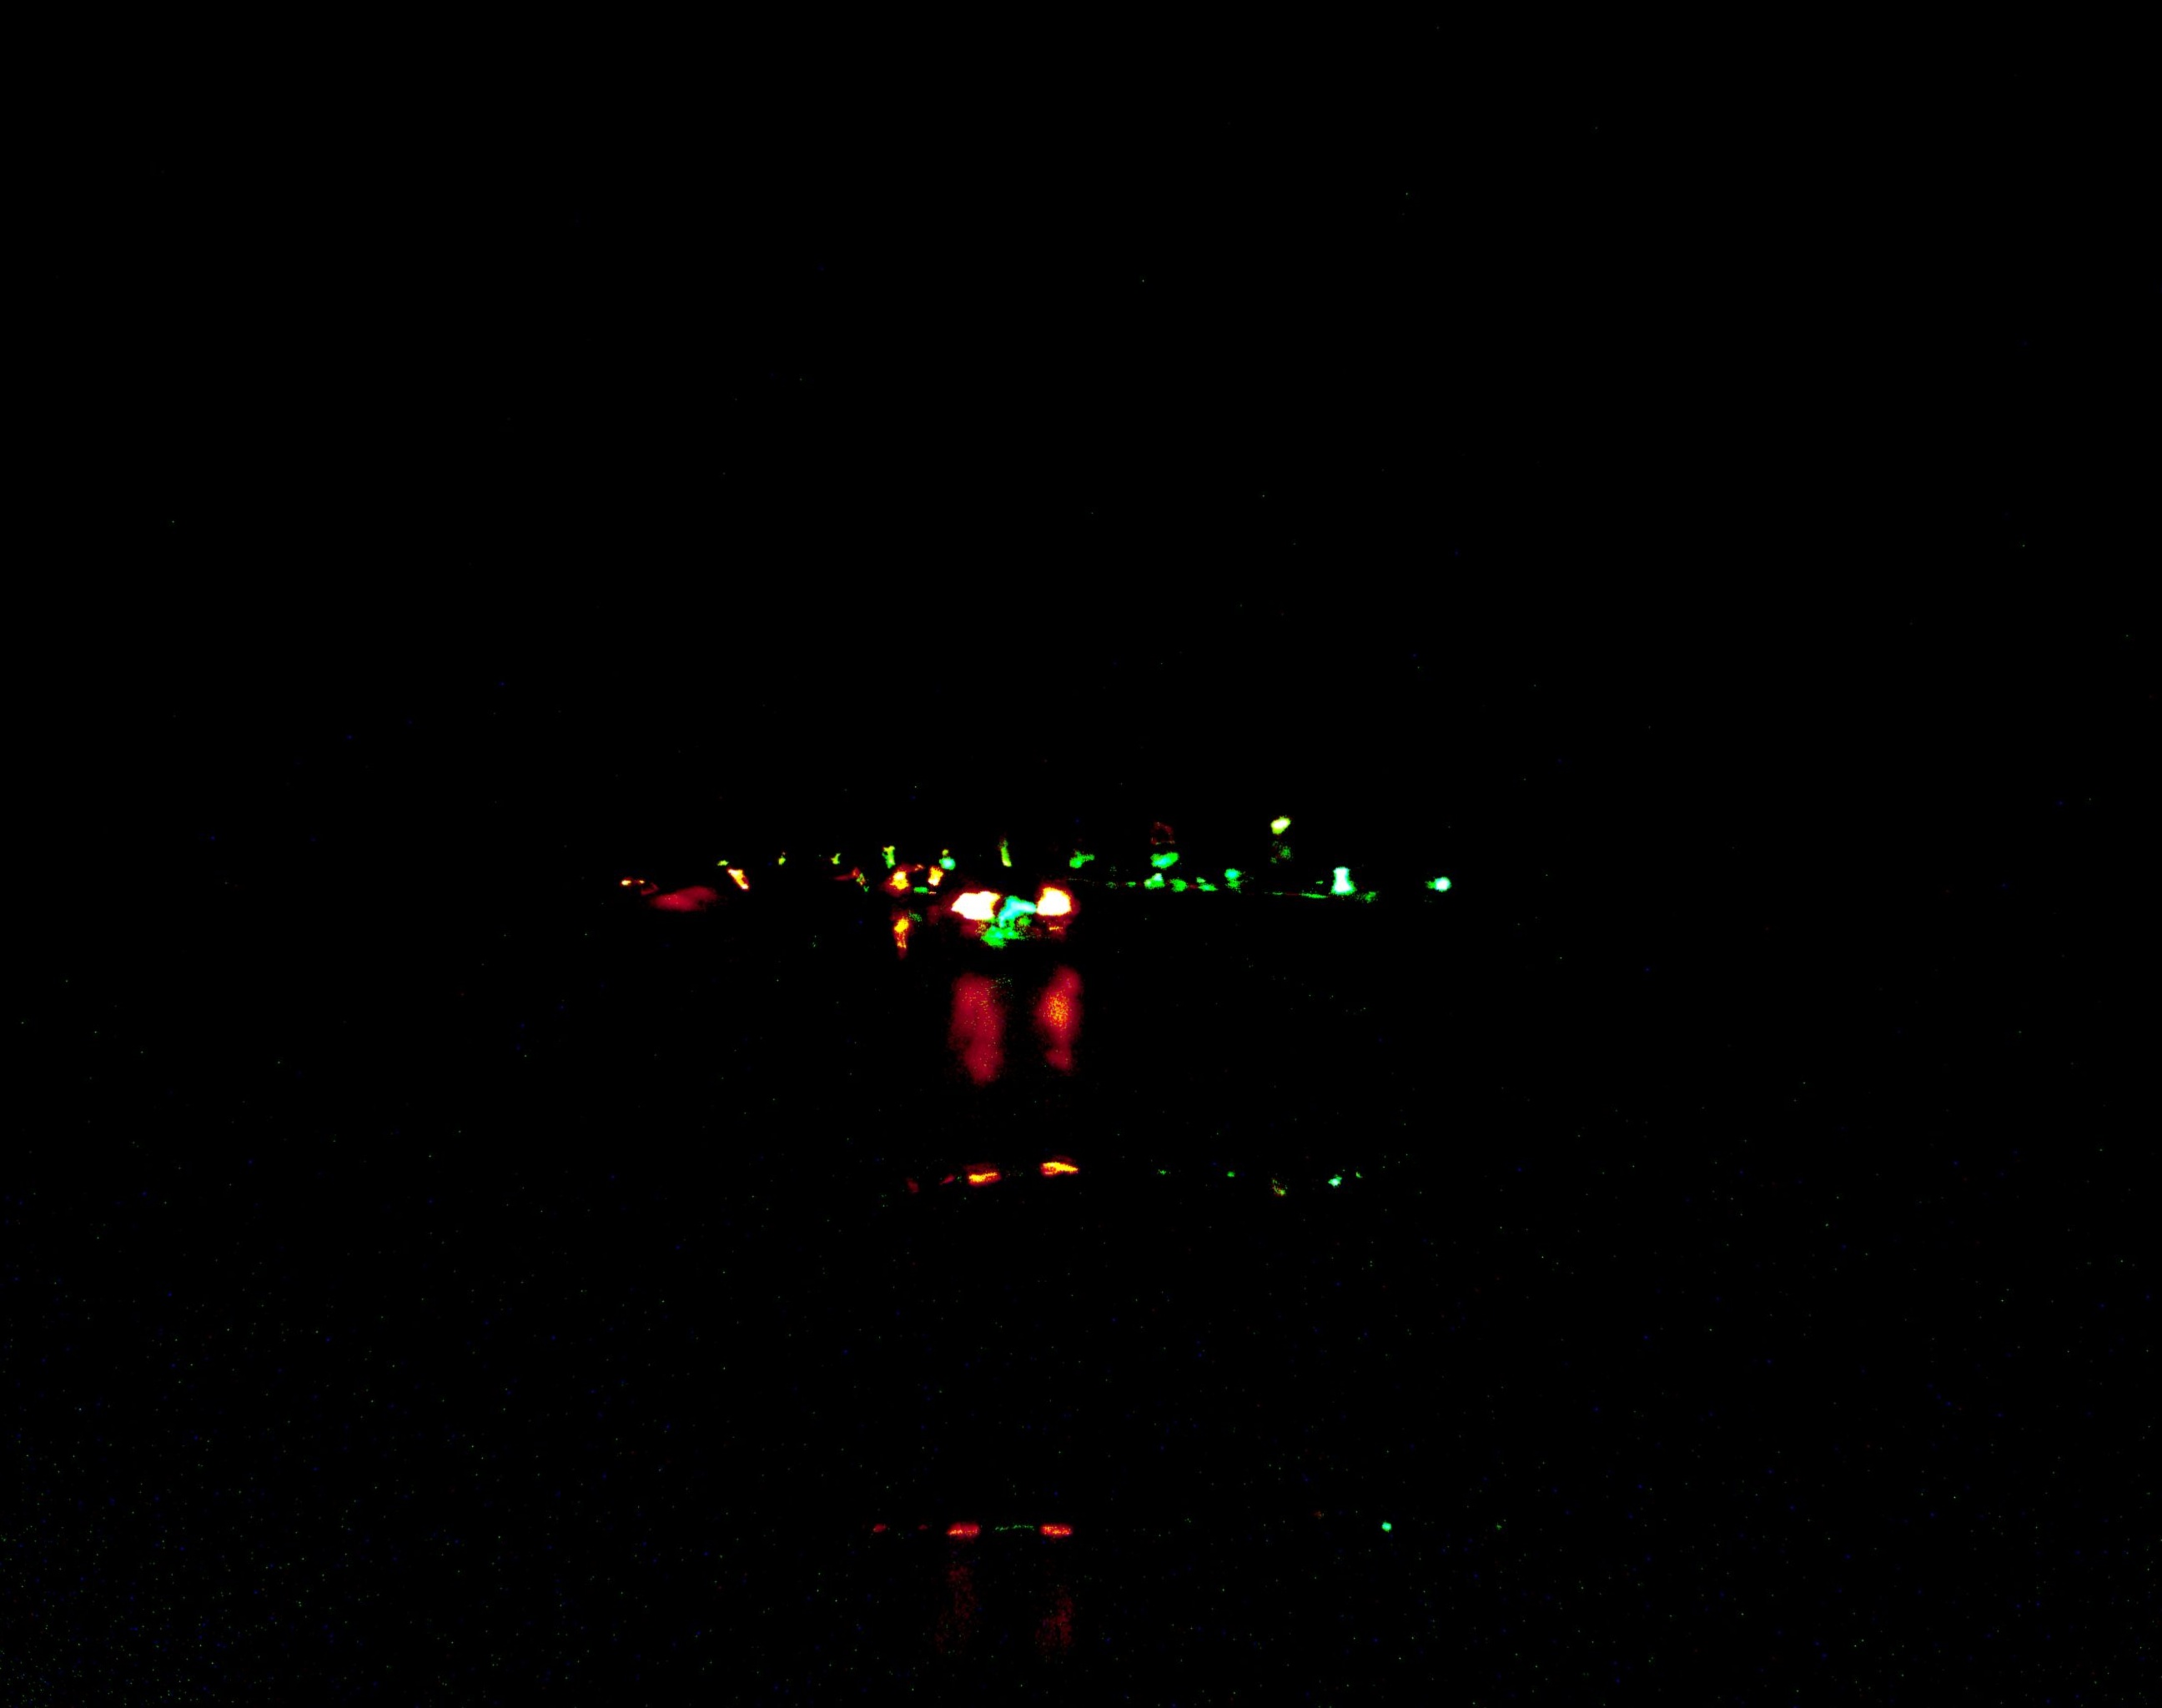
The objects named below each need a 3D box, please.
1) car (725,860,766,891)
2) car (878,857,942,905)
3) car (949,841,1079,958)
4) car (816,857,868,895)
[{"bbox_3d":[-23.337,1.484,56.511,1.909,1.998,4.004,-2,0,-33],"label":"car"},{"bbox_3d":[-6.771,1.007,31.961,1.901,1.720,4.019,-1,0,-19],"label":"car"},{"bbox_3d":[-1.243,0.688,14.042,1.859,1.647,4.058,-2,0,-8],"label":"car"},{"bbox_3d":[-13.658,1.234,46.350,1.907,2.040,4.005,-1,-1,-31],"label":"car"}]
